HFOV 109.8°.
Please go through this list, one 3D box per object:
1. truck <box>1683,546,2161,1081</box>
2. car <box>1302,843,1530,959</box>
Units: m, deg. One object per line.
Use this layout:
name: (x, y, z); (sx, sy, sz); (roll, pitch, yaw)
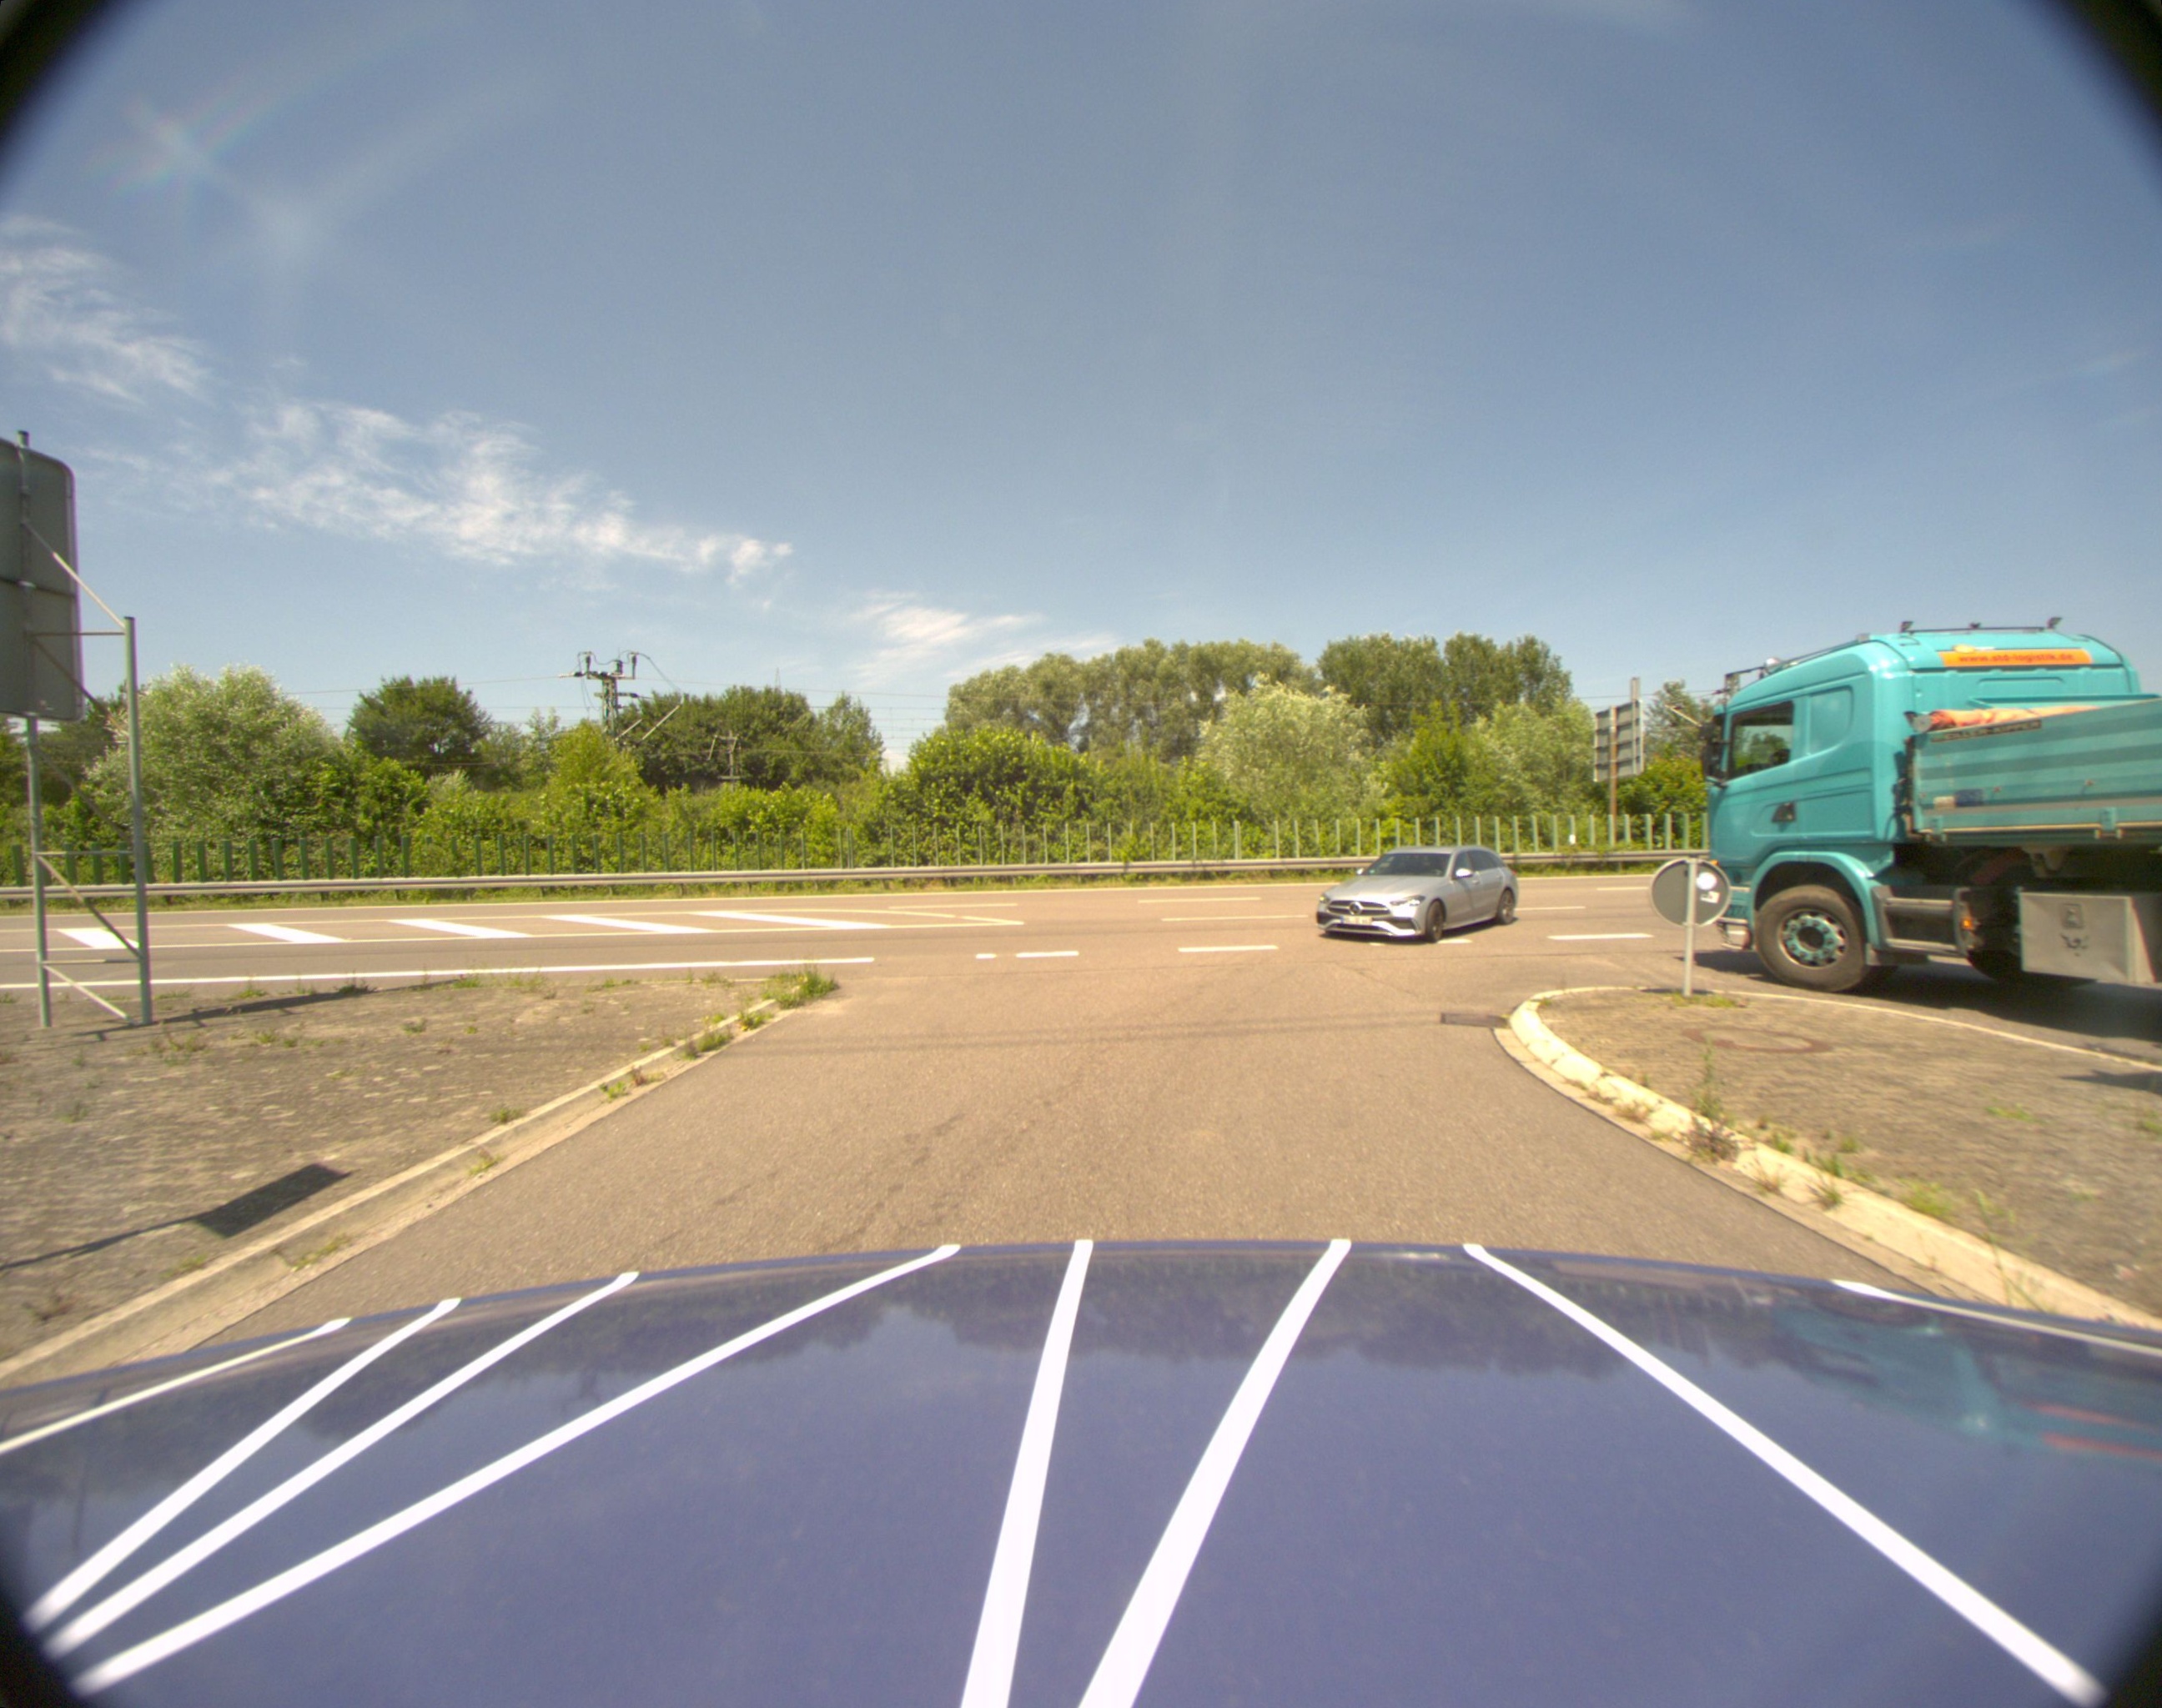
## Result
truck: (8.269, -0.276, 5.036); (2.608, 3.451, 7.610); (-1, 0, 1)
car: (5.787, 0.652, 12.939); (4.155, 1.479, 1.820); (-4, 4, -38)
